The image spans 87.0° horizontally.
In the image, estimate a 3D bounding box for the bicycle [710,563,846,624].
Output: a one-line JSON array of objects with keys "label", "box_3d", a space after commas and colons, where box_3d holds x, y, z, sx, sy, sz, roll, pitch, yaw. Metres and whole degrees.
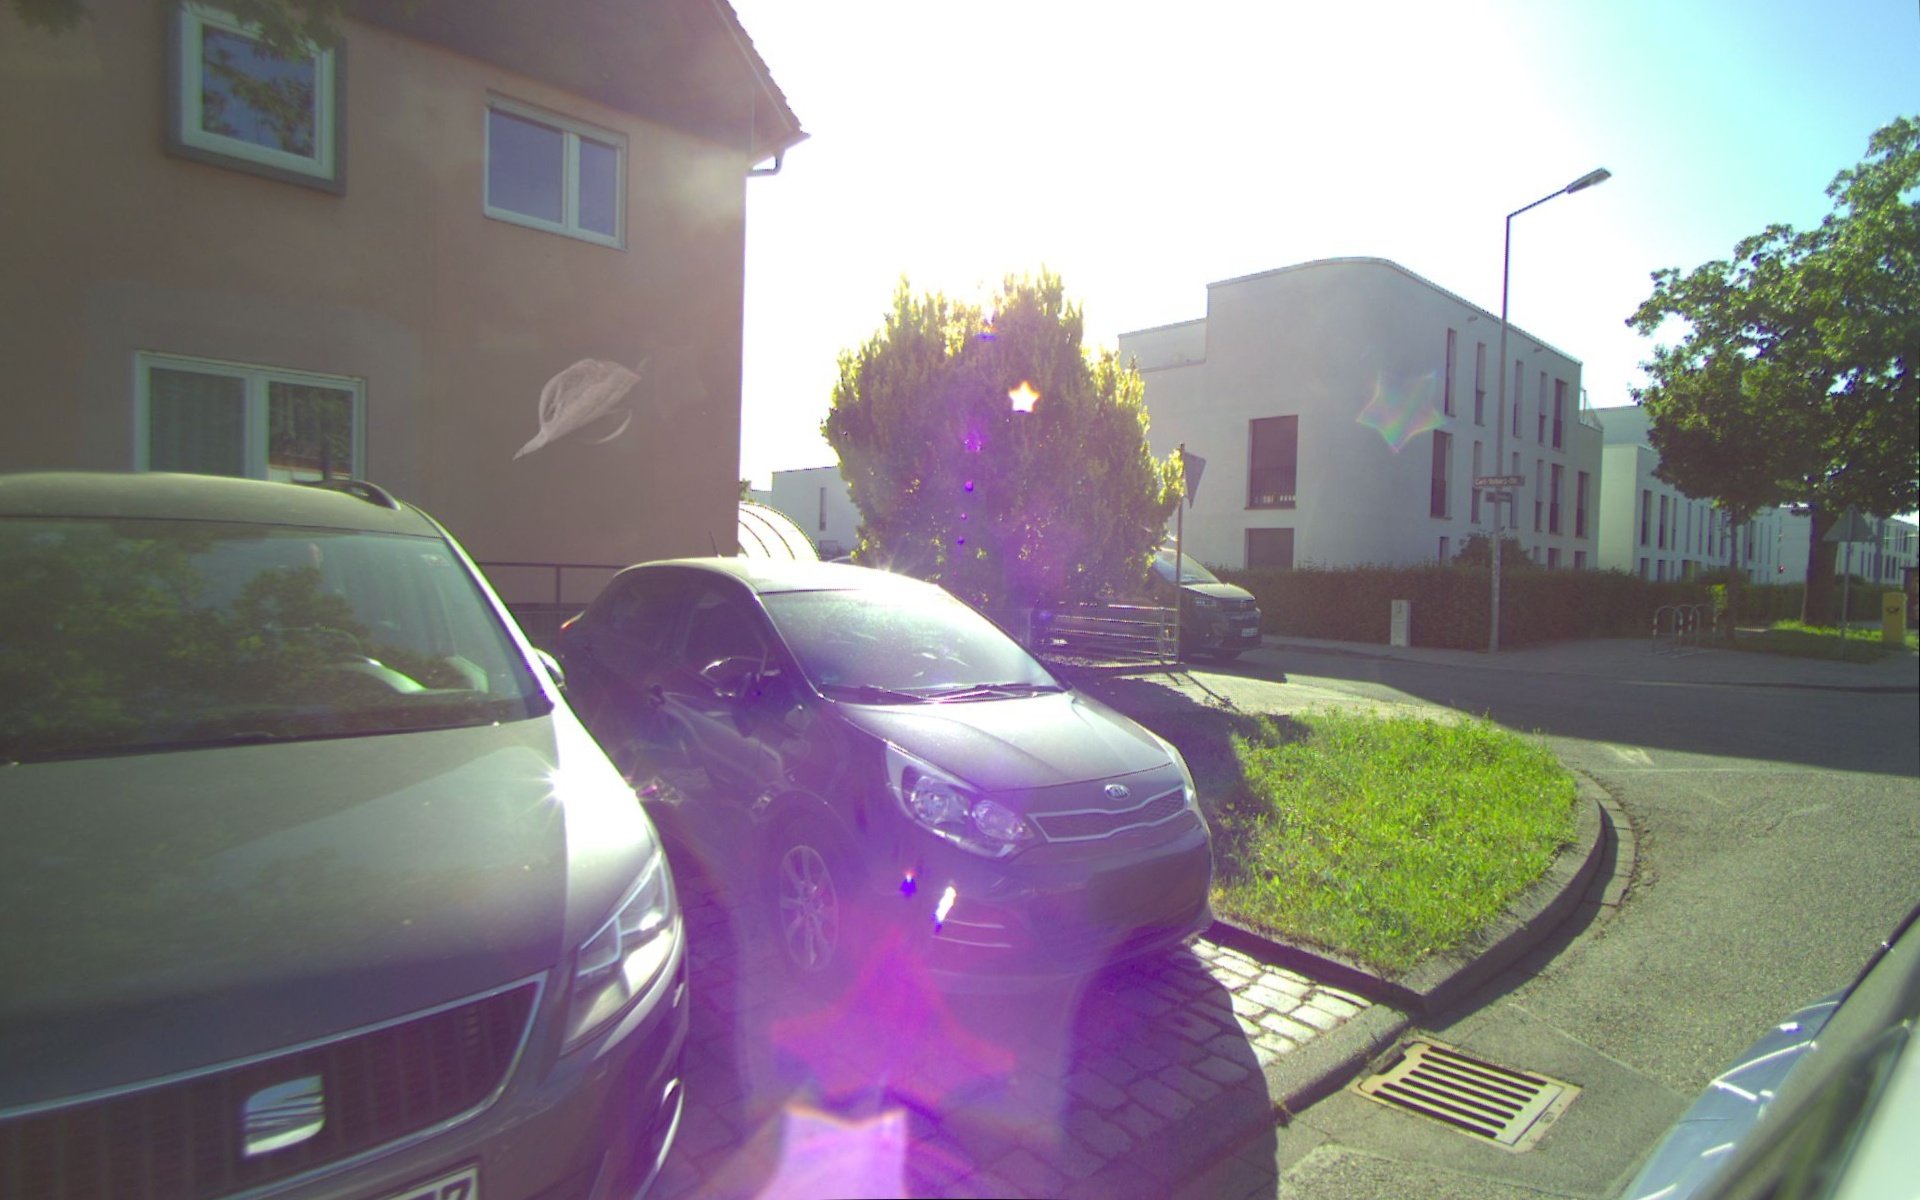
[{"label": "bicycle", "box_3d": [-3.341, -0.134, 18.782, 2.501, 1.044, 0.648, -1, 3, -41]}]

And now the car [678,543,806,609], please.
[{"label": "car", "box_3d": [-5.948, -0.678, 27.409, 1.880, 1.622, 3.555, 0, 3, -42]}]

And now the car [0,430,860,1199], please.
[{"label": "car", "box_3d": [-2.445, 0.442, 3.186, 1.848, 1.699, 4.511, -1, 5, -43]}]

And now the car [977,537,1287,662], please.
[{"label": "car", "box_3d": [2.798, -0.148, 17.597, 1.882, 1.837, 5.199, -2, 4, -44]}]

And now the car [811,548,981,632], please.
[{"label": "car", "box_3d": [-1.450, -0.274, 21.976, 1.880, 1.622, 3.555, 0, 3, -42]}]

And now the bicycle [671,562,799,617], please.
[{"label": "bicycle", "box_3d": [-4.493, -0.223, 20.372, 2.501, 1.044, 0.648, -1, 3, -41]}]

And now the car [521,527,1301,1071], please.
[{"label": "car", "box_3d": [-0.627, 0.452, 4.868, 1.654, 1.377, 3.956, 0, 5, -40]}]
